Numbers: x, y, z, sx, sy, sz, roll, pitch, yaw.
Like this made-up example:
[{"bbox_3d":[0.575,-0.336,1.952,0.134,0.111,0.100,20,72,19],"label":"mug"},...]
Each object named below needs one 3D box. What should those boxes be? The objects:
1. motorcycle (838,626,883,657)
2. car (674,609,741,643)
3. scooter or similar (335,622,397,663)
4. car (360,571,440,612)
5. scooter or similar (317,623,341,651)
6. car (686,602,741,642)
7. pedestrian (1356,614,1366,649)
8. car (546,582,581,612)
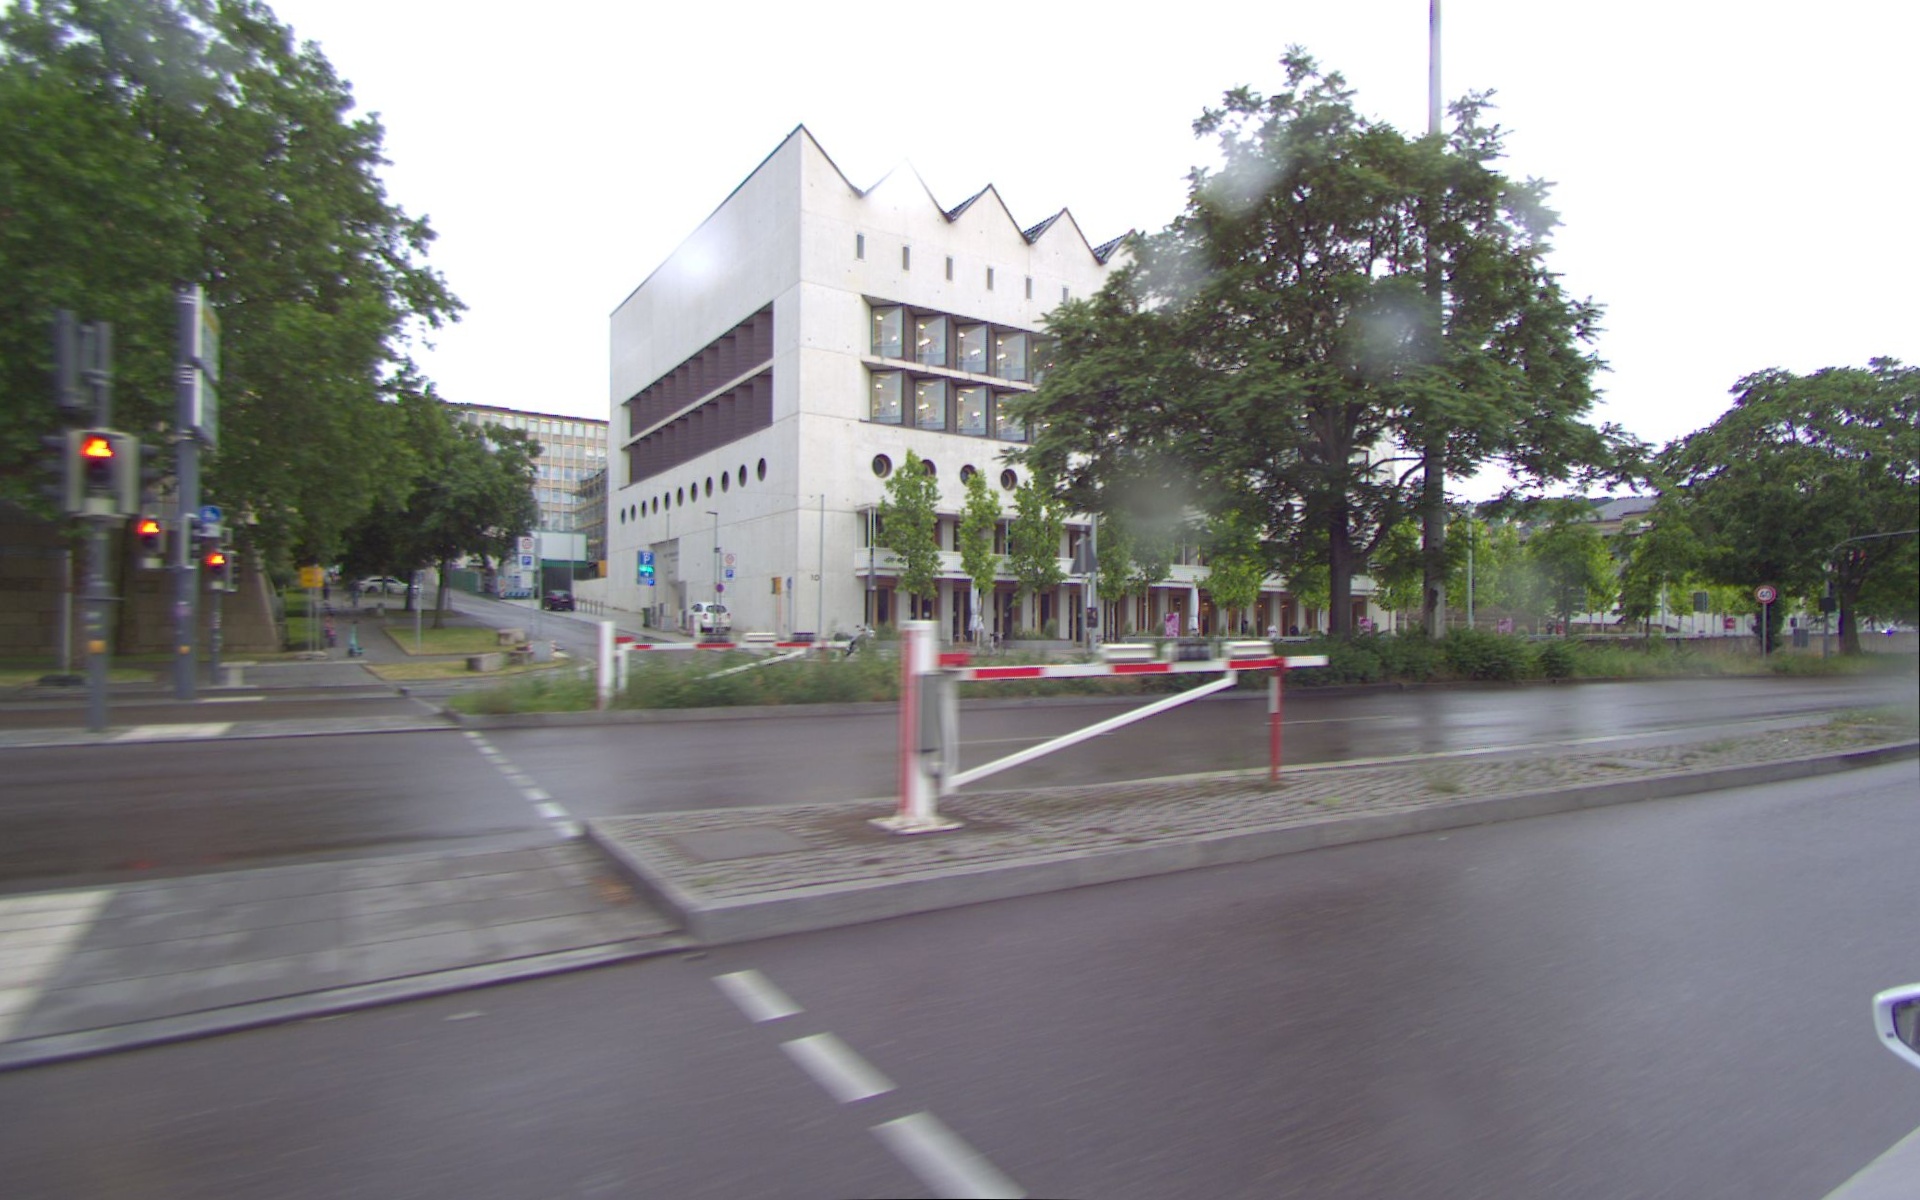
[{"bbox_3d":[-3.853,1.609,38.822,1.807,1.169,0.426,-1,-2,30],"label":"motorcycle"},{"bbox_3d":[-12.615,1.301,50.014,1.980,1.617,3.961,1,-2,-35],"label":"car"},{"bbox_3d":[-20.211,1.446,34.195,1.646,1.369,0.713,1,-3,-13],"label":"scooter or similar"},{"bbox_3d":[-32.547,-0.434,58.437,3.953,2.142,1.984,2,-4,-30],"label":"car"},{"bbox_3d":[-23.568,1.386,37.534,0.430,1.031,1.667,1,-3,-21],"label":"scooter or similar"},{"bbox_3d":[-13.351,1.232,54.228,1.975,2.040,3.973,2,-4,-27],"label":"car"},{"bbox_3d":[23.178,1.836,58.075,0.531,2.040,0.531,-1,-3,22],"label":"pedestrian"},{"bbox_3d":[-28.981,-0.265,73.346,1.975,2.040,3.971,2,1,-27],"label":"car"}]
